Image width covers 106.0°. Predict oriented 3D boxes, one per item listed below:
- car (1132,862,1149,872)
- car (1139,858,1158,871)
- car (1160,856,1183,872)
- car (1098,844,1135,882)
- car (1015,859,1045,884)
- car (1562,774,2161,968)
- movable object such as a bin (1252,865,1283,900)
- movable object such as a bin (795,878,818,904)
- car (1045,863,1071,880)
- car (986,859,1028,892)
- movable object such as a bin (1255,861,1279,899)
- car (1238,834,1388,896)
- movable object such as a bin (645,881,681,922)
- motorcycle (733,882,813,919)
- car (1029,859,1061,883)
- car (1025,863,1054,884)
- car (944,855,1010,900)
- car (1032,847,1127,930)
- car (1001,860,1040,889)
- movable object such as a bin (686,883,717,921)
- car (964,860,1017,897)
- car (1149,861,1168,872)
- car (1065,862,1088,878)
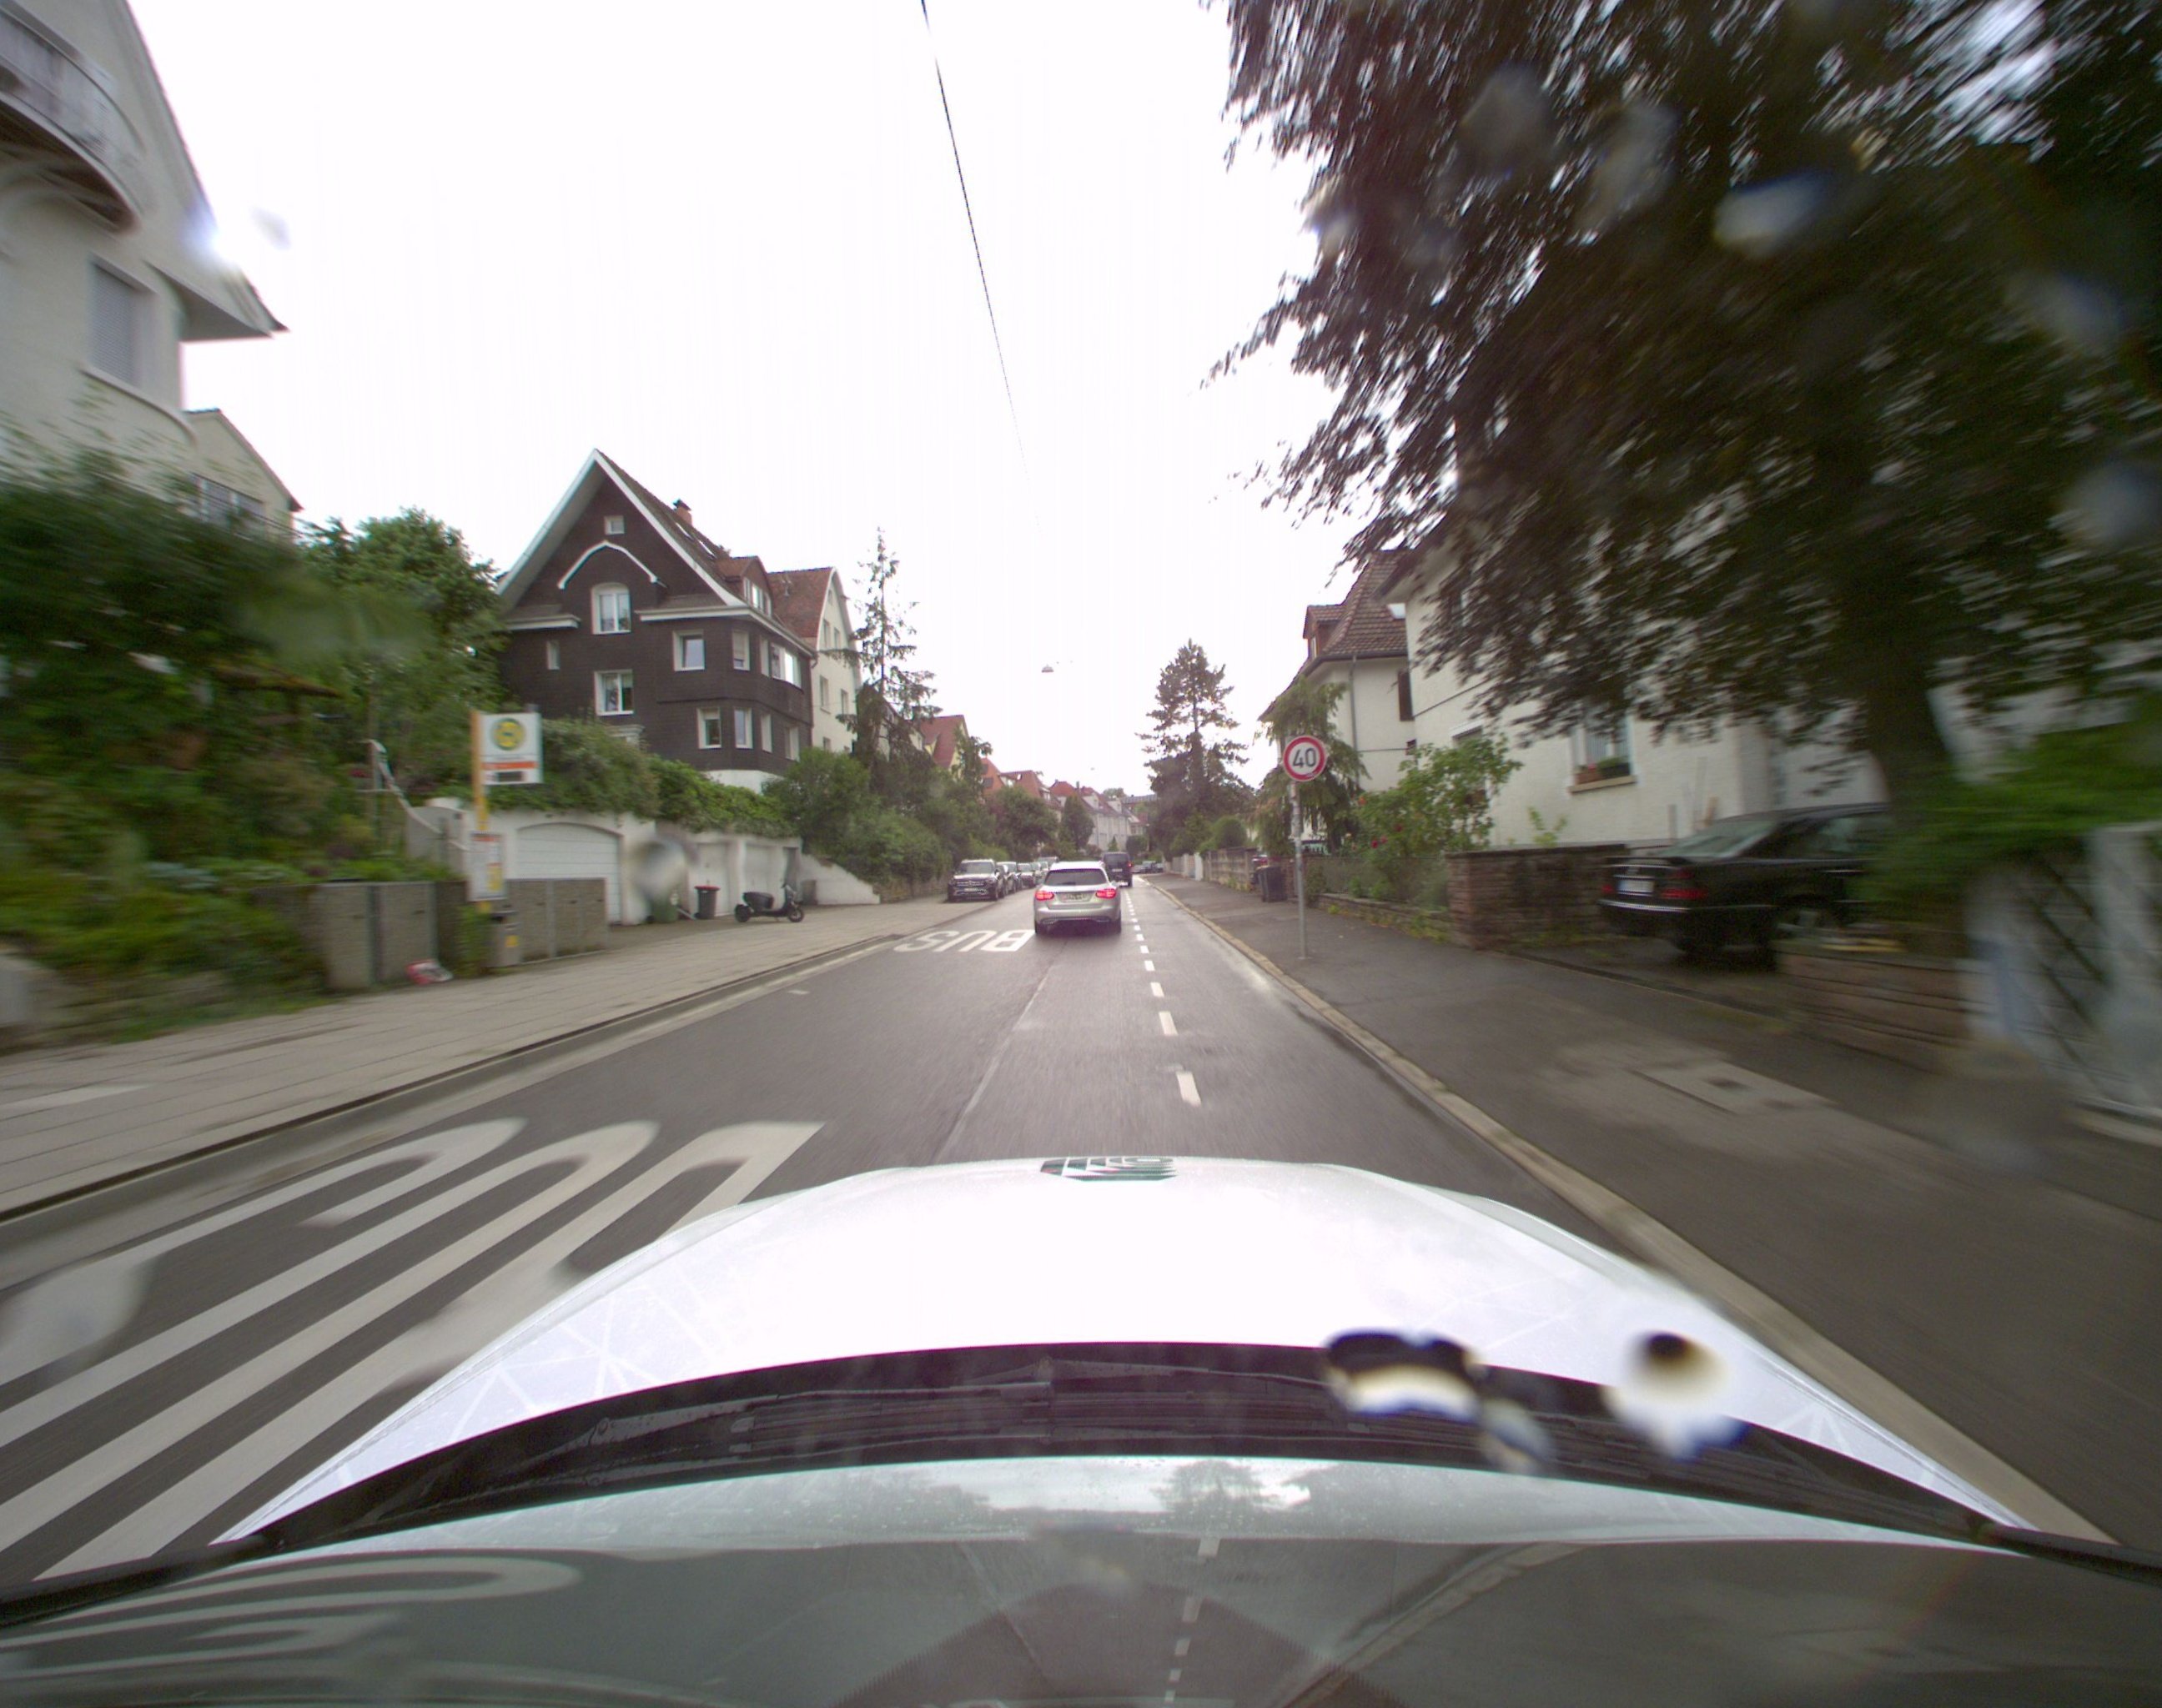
[{"bbox_3d":[9.425,2.012,129.275,1.630,1.417,4.633,-2,-1,17],"label":"car"},{"bbox_3d":[11.181,1.787,134.500,1.814,2.056,5.034,-2,-1,20],"label":"car"},{"bbox_3d":[16.466,1.808,147.896,2.370,2.772,6.567,-2,1,22],"label":"car"},{"bbox_3d":[1.879,0.504,44.190,1.837,1.904,4.000,-1,-1,0],"label":"car"},{"bbox_3d":[-3.392,1.135,54.897,1.640,1.446,3.630,-2,1,2],"label":"car"},{"bbox_3d":[7.331,0.210,7.859,4.126,1.486,1.979,-2,-4,5],"label":"car"},{"bbox_3d":[4.777,0.726,20.852,0.649,0.855,0.503,-2,1,0],"label":"movable object such as a bin"},{"bbox_3d":[-9.965,1.350,29.571,0.625,0.889,0.482,-3,1,-42],"label":"movable object such as a bin"},{"bbox_3d":[-2.216,1.639,79.061,1.984,1.581,4.768,0,0,5],"label":"car"},{"bbox_3d":[-3.785,1.078,42.094,1.690,1.541,3.815,-2,0,2],"label":"car"},{"bbox_3d":[4.870,0.688,21.391,0.492,0.955,0.503,-2,1,0],"label":"movable object such as a bin"},{"bbox_3d":[6.891,0.301,24.505,3.972,1.639,1.919,-2,1,1],"label":"car"},{"bbox_3d":[-10.297,1.161,20.073,0.572,0.953,0.513,-2,1,-3],"label":"movable object such as a bin"},{"bbox_3d":[-7.809,1.175,20.692,1.787,0.903,0.603,0,-1,1],"label":"motorcycle"},{"bbox_3d":[-2.912,1.339,66.381,1.985,1.878,5.361,-1,0,4],"label":"car"},{"bbox_3d":[-3.051,1.424,60.412,1.687,1.447,3.816,-2,-1,3],"label":"car"},{"bbox_3d":[-4.049,0.878,32.421,1.886,1.622,4.380,-2,0,2],"label":"car"},{"bbox_3d":[-0.034,0.678,17.741,1.810,1.556,3.999,-1,0,0],"label":"car"},{"bbox_3d":[-3.417,1.143,46.952,1.749,1.446,4.418,-2,1,2],"label":"car"},{"bbox_3d":[-10.245,1.287,22.011,0.572,0.953,0.513,-2,1,-3],"label":"movable object such as a bin"},{"bbox_3d":[-4.122,1.088,37.656,1.886,1.446,3.816,-2,1,2],"label":"car"},{"bbox_3d":[13.395,2.158,140.885,1.976,1.688,4.703,-2,1,23],"label":"car"},{"bbox_3d":[-0.444,1.743,90.863,1.983,1.702,4.747,0,0,7],"label":"car"}]
